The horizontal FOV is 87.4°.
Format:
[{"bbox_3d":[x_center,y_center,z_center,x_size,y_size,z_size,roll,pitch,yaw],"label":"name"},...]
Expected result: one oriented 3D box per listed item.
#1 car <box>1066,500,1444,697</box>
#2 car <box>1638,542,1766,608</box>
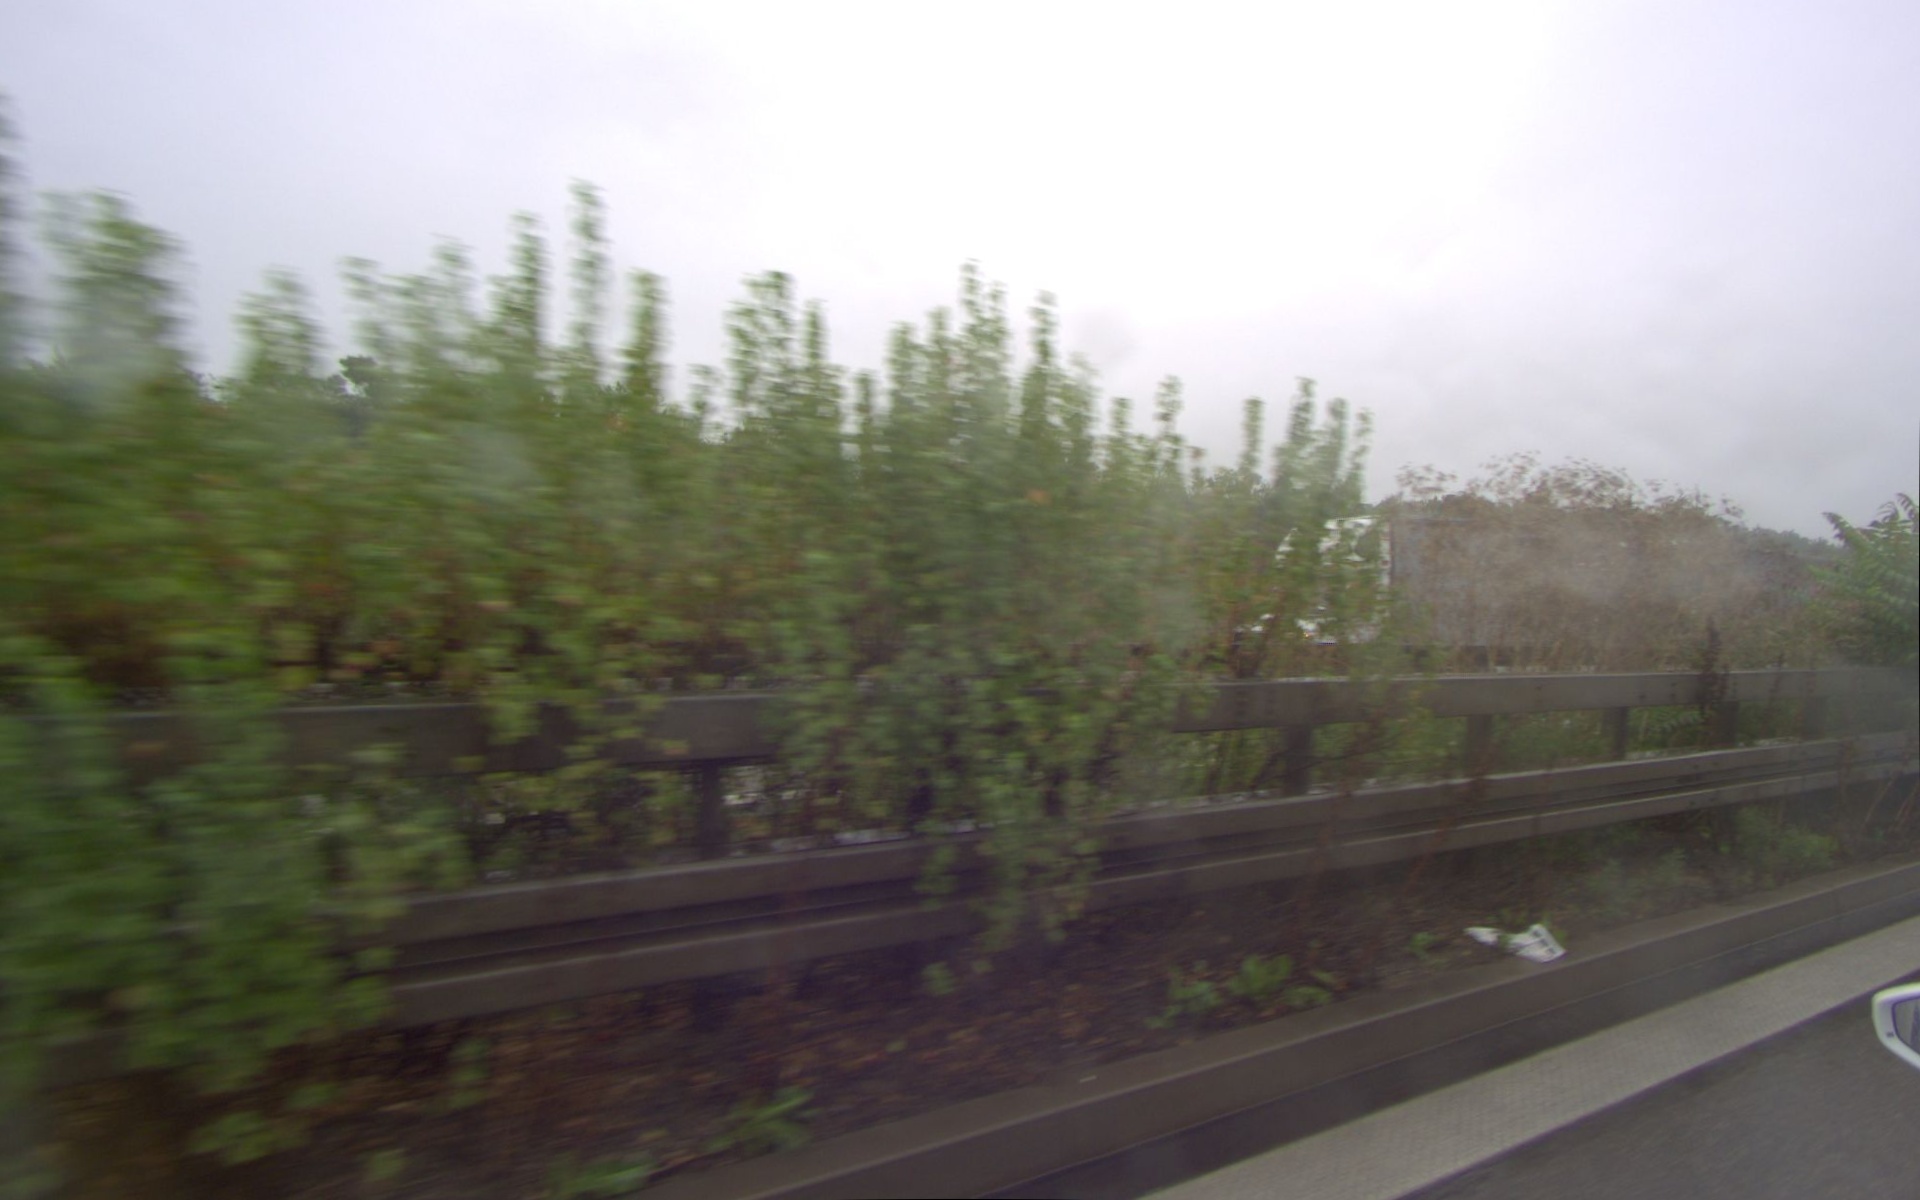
[{"bbox_3d":[5.446,0.049,18.129,6.856,2.999,2.549,2,0,-31],"label":"car"},{"bbox_3d":[24.951,-0.800,33.774,3.951,2.040,1.985,1,0,-29],"label":"car"}]
